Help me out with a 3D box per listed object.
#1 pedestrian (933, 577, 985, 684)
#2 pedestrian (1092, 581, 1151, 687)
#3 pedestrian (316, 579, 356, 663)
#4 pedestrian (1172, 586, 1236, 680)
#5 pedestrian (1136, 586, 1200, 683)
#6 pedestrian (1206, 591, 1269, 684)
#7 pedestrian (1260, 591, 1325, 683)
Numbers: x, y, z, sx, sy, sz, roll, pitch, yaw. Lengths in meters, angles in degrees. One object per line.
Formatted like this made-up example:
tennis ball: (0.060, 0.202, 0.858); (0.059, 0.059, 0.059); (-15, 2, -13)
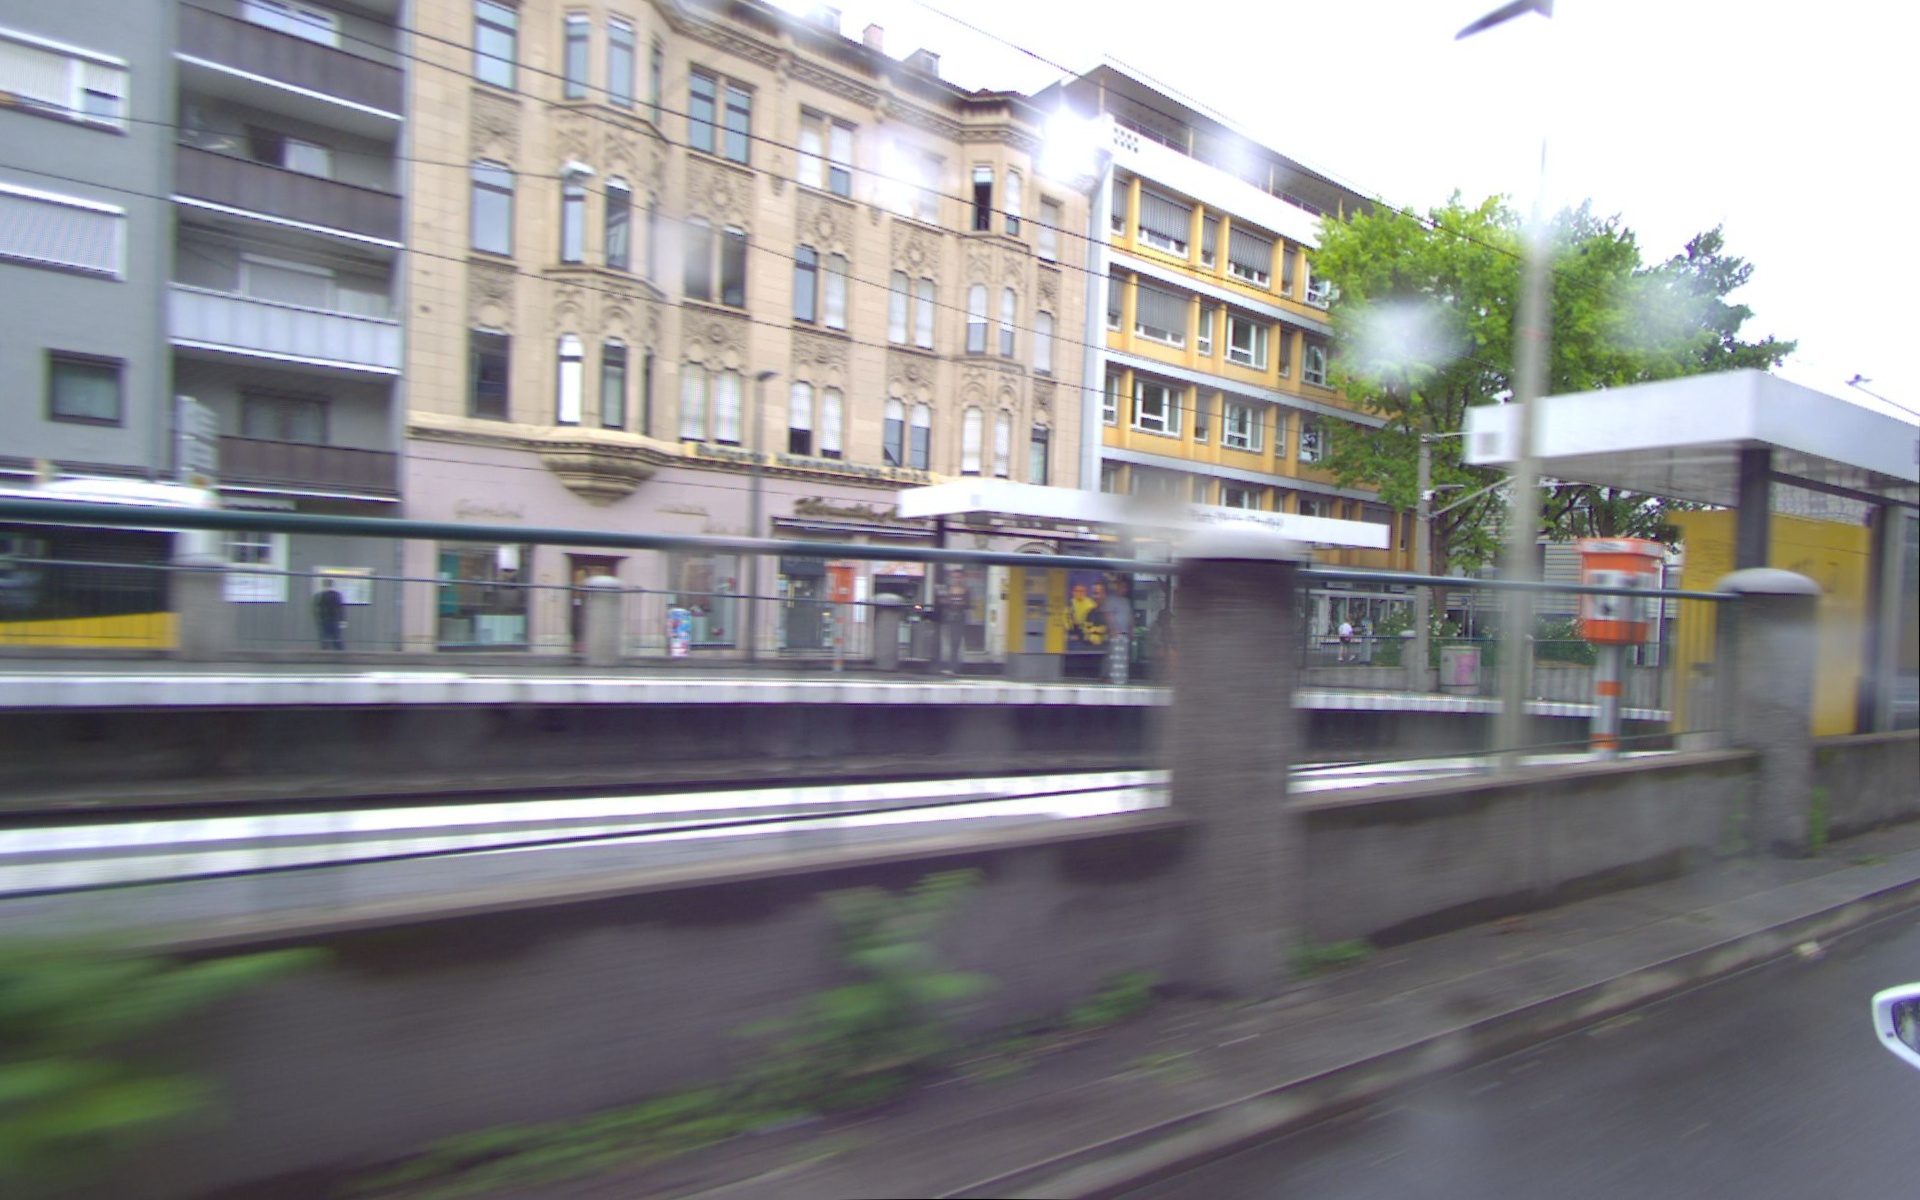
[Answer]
pedestrian: (-0.023, 0.449, 15.033); (0.511, 1.558, 0.555); (3, 0, -31)
pedestrian: (2.635, 0.550, 16.425); (0.674, 1.682, 0.630); (1, 1, -28)
pedestrian: (-12.769, 0.426, 20.559); (0.598, 1.705, 0.421); (1, 2, -20)
pedestrian: (4.446, 0.620, 18.321); (0.767, 1.670, 0.769); (2, -5, -27)
pedestrian: (3.685, 0.626, 17.821); (0.767, 1.670, 0.769); (2, -5, -27)
pedestrian: (5.169, 0.714, 18.730); (0.767, 1.670, 0.769); (2, -5, -27)
pedestrian: (6.234, 0.710, 18.843); (0.884, 1.670, 0.675); (2, -5, -27)
